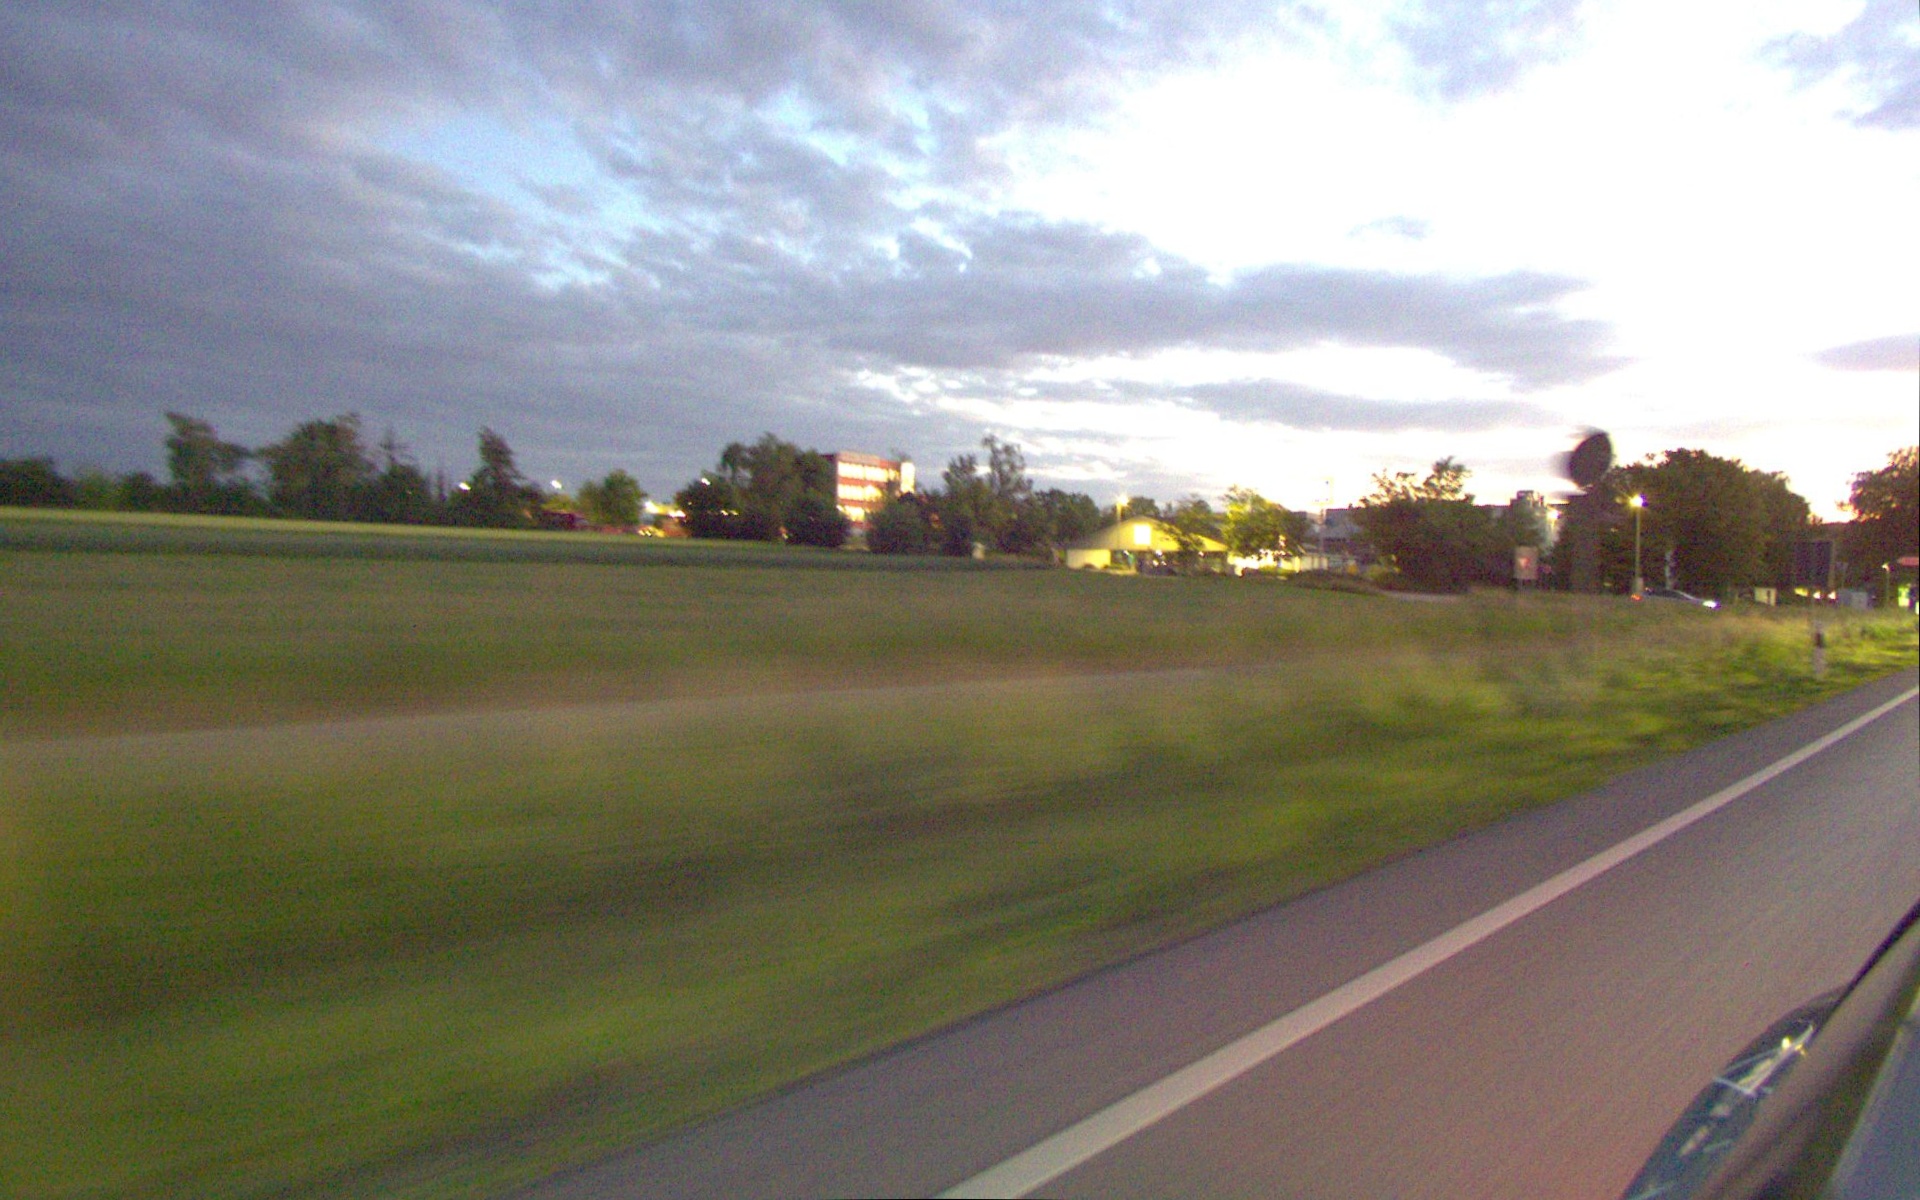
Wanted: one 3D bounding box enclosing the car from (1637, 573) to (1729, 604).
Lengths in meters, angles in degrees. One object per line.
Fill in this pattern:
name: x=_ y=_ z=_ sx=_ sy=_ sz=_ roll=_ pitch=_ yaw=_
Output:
car: x=45.316 y=-0.746 z=63.480 sx=4.465 sy=1.684 sz=1.969 roll=4 pitch=3 yaw=44
